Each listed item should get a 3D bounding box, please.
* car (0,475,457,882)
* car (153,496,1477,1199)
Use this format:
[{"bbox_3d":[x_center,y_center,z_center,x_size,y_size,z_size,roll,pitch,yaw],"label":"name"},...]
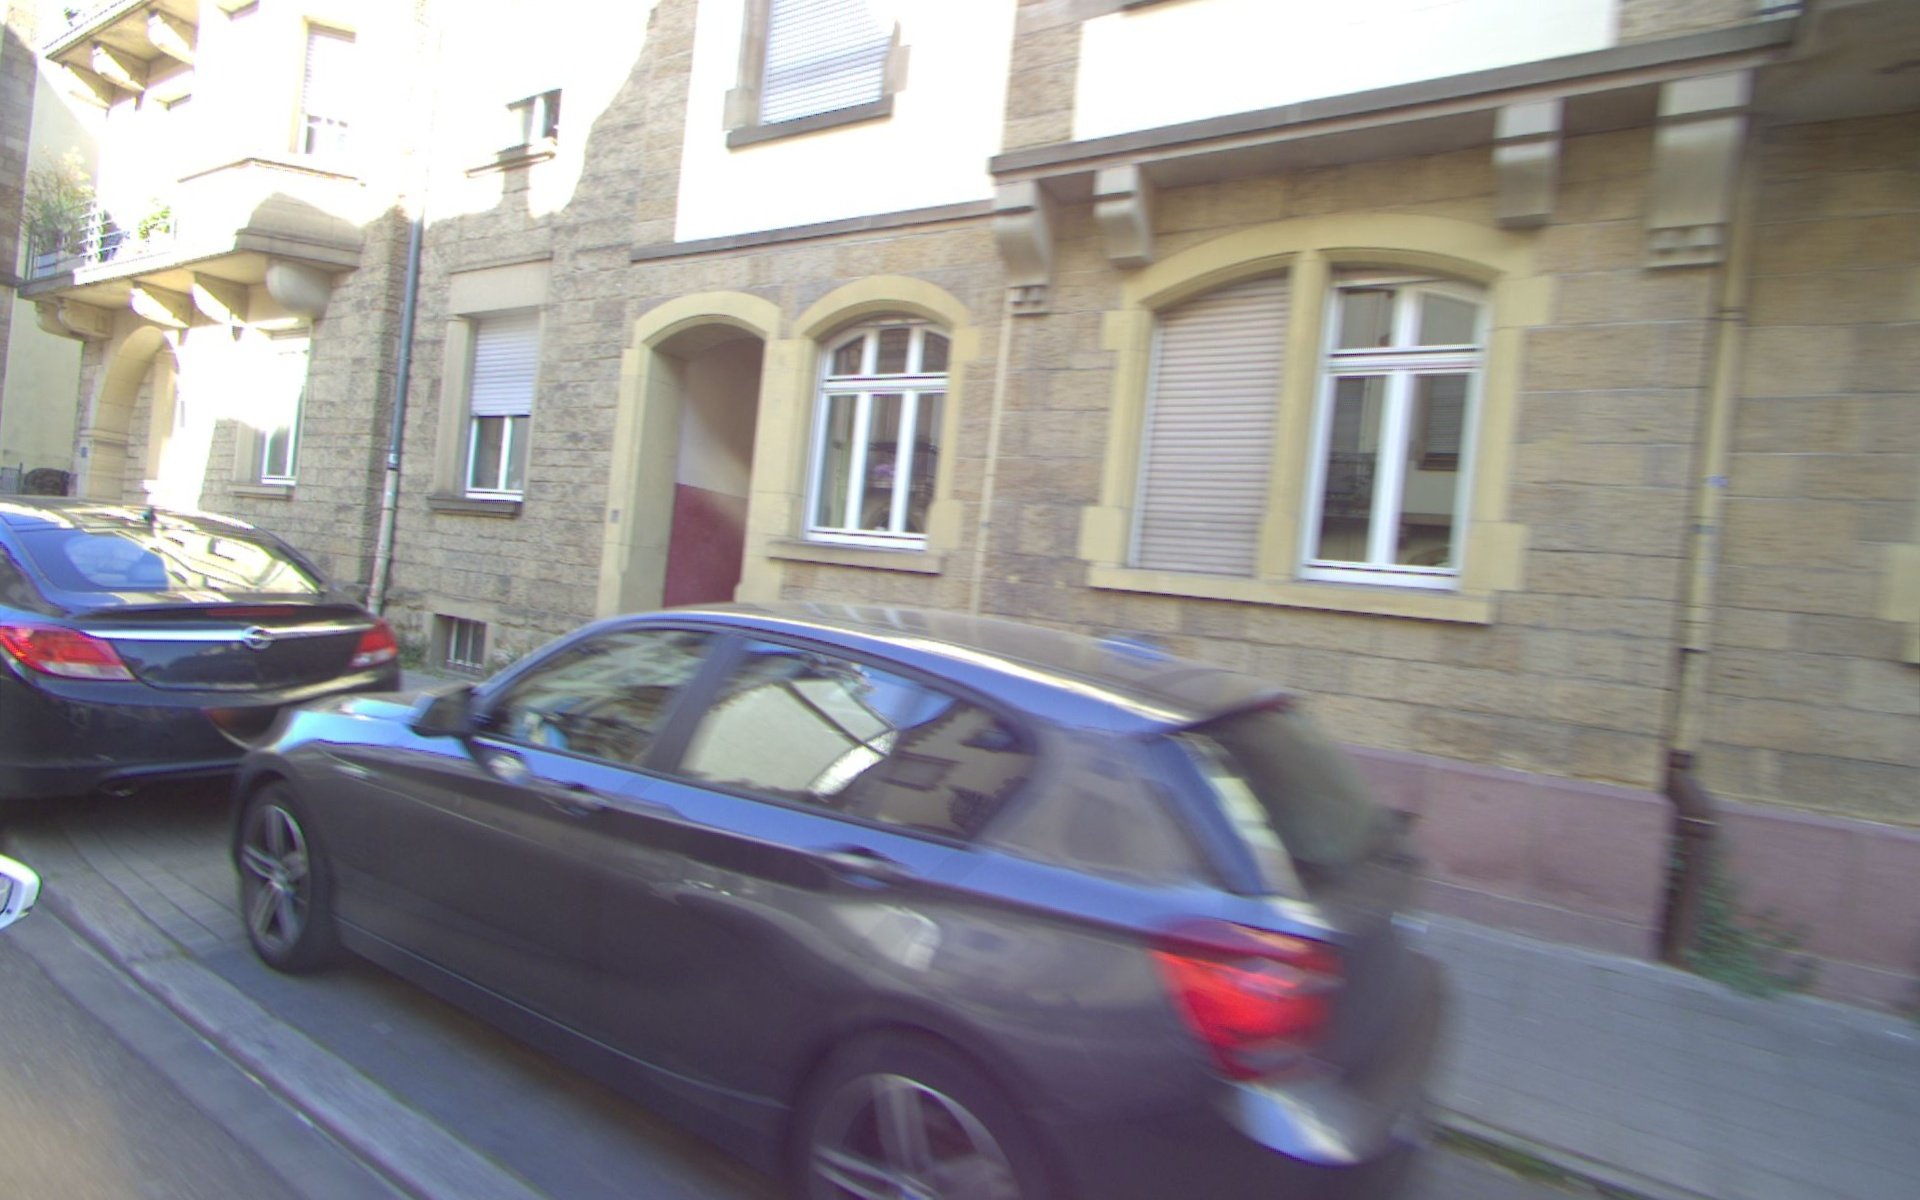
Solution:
[{"bbox_3d":[-4.869,0.127,5.382,4.268,1.481,1.867,7,1,32],"label":"car"},{"bbox_3d":[-0.759,0.594,3.356,4.188,1.460,1.652,7,1,32],"label":"car"}]
